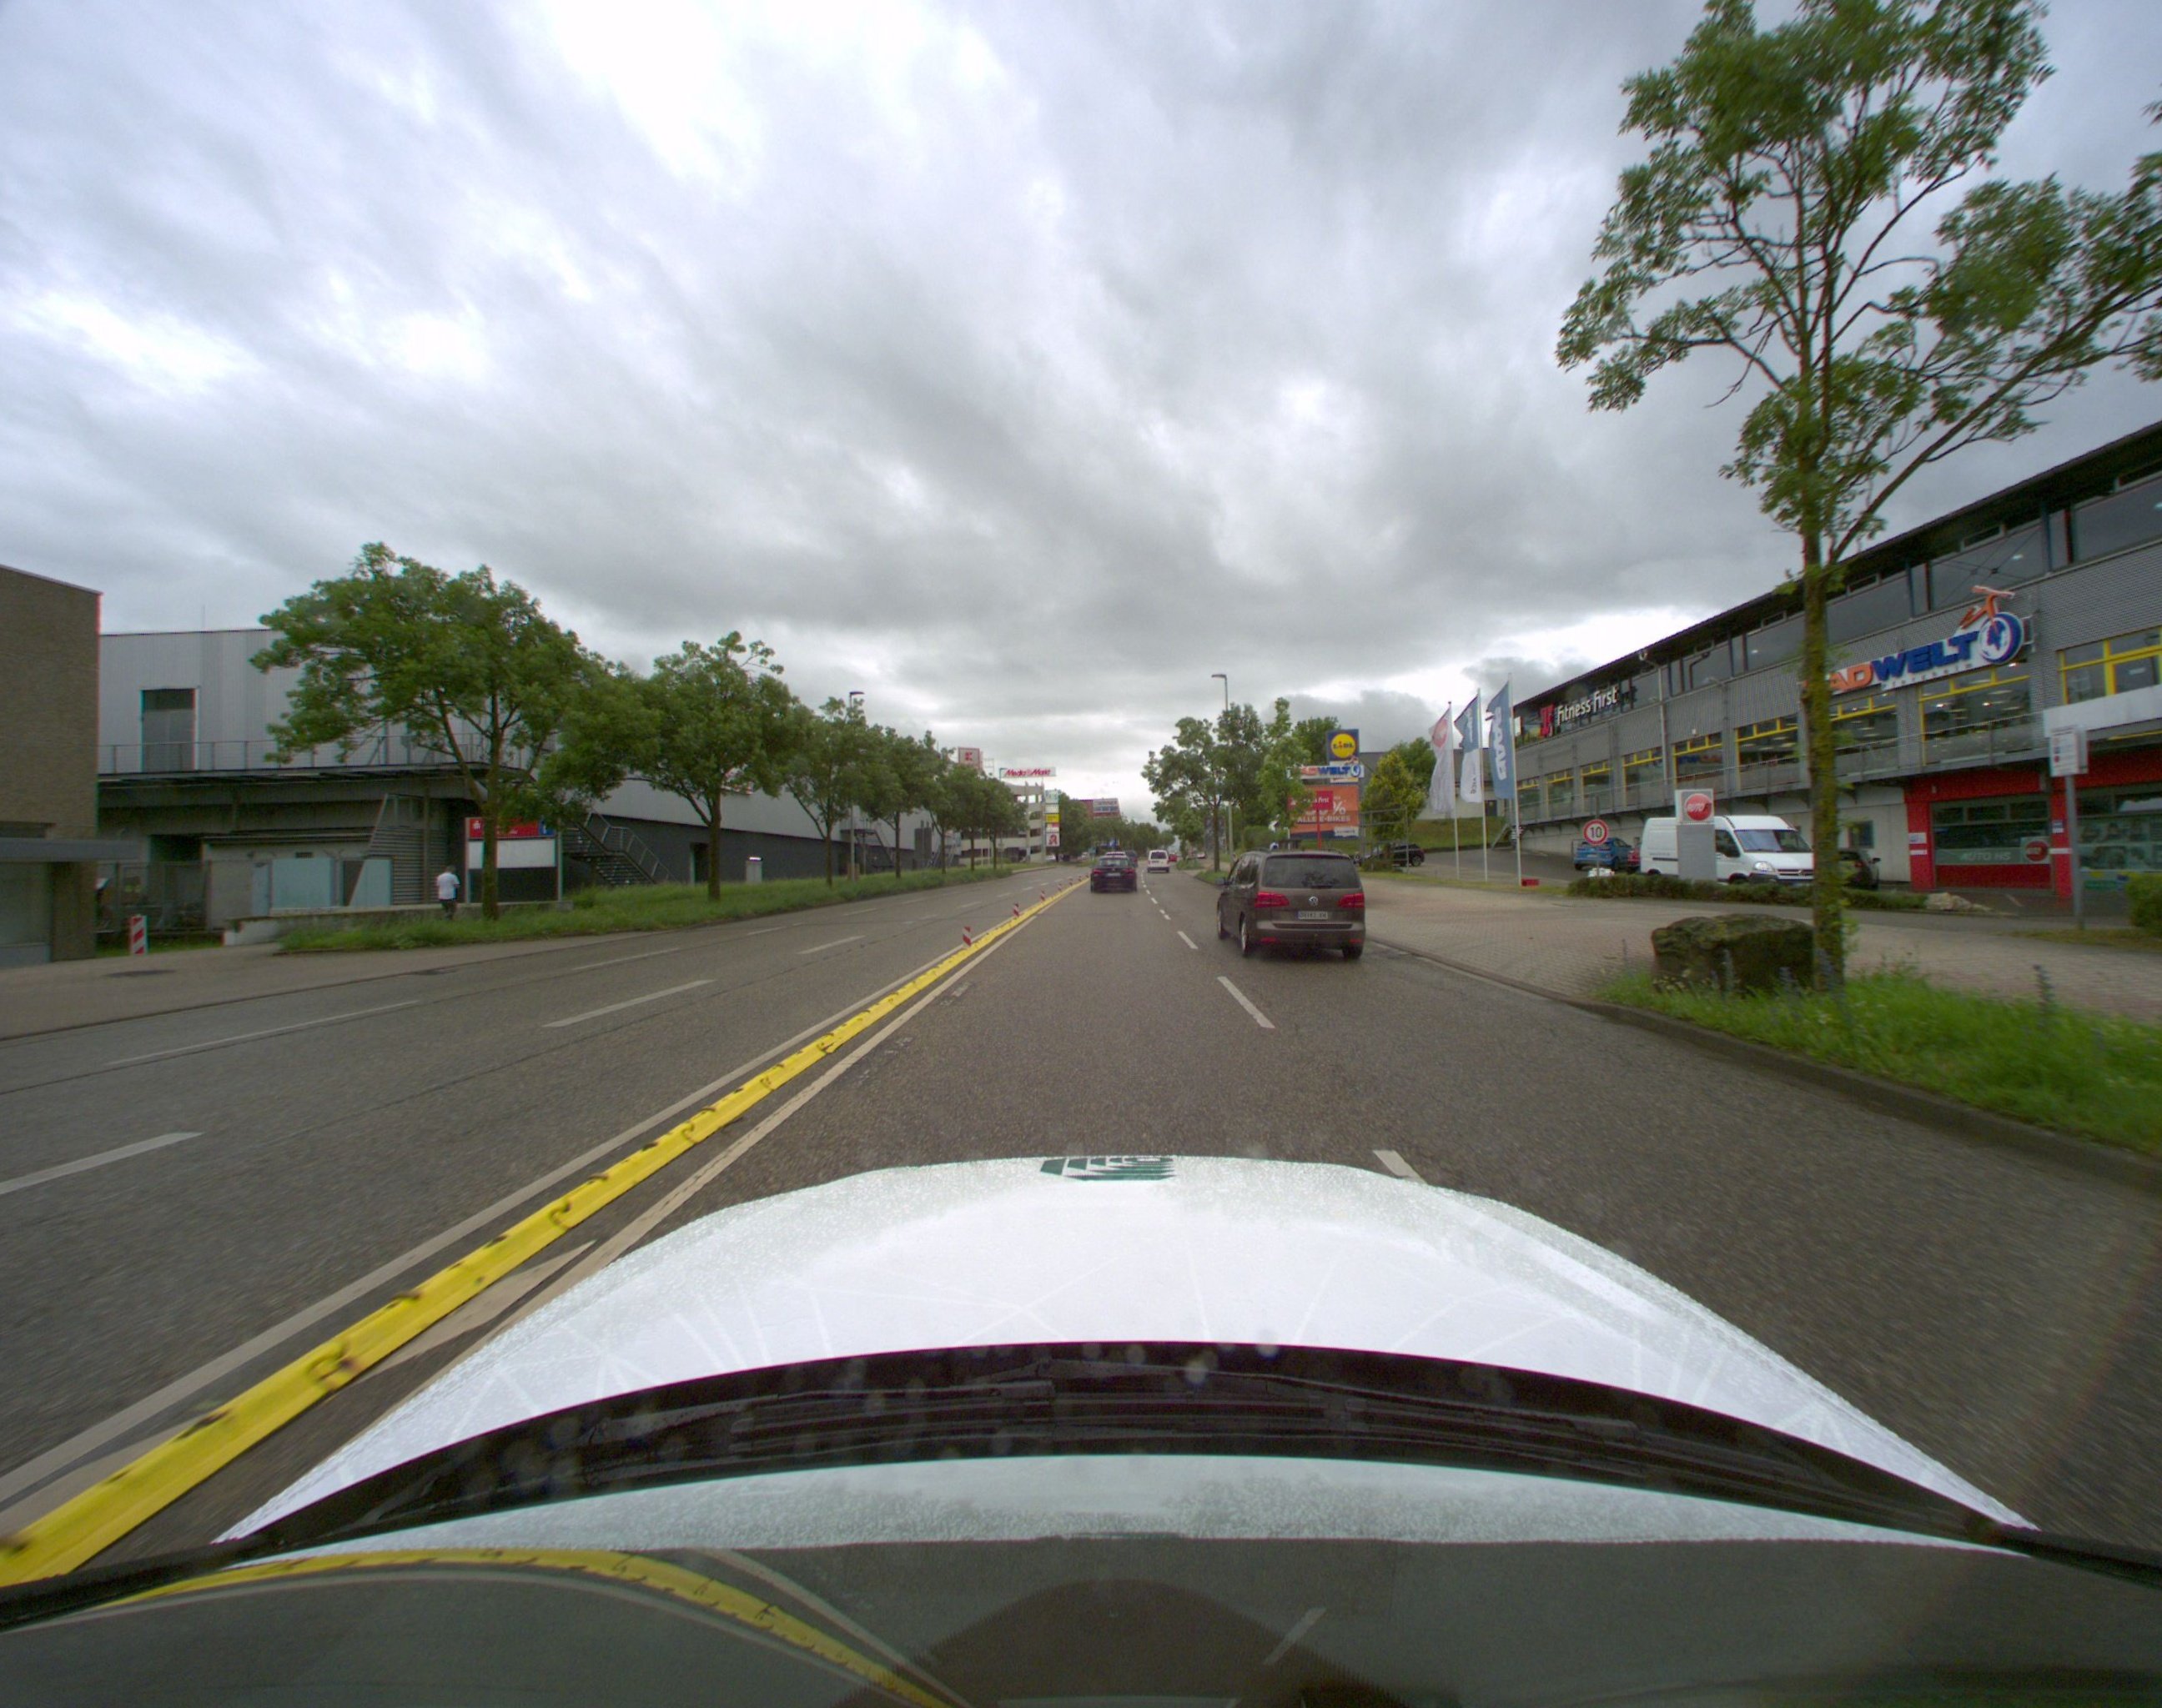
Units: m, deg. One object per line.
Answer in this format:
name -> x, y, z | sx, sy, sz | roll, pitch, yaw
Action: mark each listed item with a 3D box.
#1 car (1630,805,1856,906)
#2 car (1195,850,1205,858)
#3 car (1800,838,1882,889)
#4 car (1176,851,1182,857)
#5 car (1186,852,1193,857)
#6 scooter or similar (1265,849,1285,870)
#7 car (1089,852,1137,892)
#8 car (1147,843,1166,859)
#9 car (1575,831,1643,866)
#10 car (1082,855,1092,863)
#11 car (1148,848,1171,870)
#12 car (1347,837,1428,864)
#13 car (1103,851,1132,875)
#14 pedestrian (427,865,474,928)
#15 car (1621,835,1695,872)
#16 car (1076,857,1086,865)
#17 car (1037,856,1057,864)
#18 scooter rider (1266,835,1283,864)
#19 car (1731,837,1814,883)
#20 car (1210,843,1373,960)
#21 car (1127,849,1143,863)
car -> 18.648, -0.061, 23.443 | 2.217, 2.536, 5.689 | 0, 2, 5
car -> 24.832, 0.014, 169.753 | 1.785, 1.510, 4.006 | 0, 0, 5
car -> 25.795, 0.247, 27.601 | 4.284, 1.470, 1.762 | -3, 3, -43
car -> 27.400, -0.009, 227.651 | 1.786, 1.510, 4.005 | 0, 0, 5
car -> 31.652, 0.084, 237.444 | 1.786, 1.510, 4.005 | 0, 0, 5
scooter or similar -> 12.372, 0.350, 51.933 | 0.694, 1.263, 1.397 | -4, 1, -8
car -> 1.329, 0.677, 33.236 | 1.820, 1.468, 4.003 | -1, 1, 3
car -> 7.535, -0.258, 81.238 | 1.786, 1.510, 4.005 | 0, 0, 4
car -> 26.268, -0.311, 40.470 | 3.931, 1.559, 1.720 | -3, 3, -39
car -> 1.485, 1.197, 203.465 | 2.029, 1.762, 4.955 | -1, 1, 6
car -> 6.352, 0.385, 65.876 | 1.818, 1.759, 4.006 | 0, 0, 5
car -> 17.841, -0.227, 47.475 | 4.091, 1.438, 1.791 | -2, 2, -10
car -> 2.391, 0.568, 52.190 | 1.786, 1.510, 4.004 | 0, 0, 4
pedestrian -> -16.228, 1.071, 20.980 | 0.581, 1.583, 0.768 | 0, 0, 4
car -> 26.439, -0.079, 37.275 | 3.893, 1.501, 1.720 | -3, 2, -38
car -> 0.049, 1.618, 189.077 | 1.924, 1.608, 4.717 | -1, 1, 4
car -> -8.132, 1.431, 194.709 | 4.582, 1.745, 1.968 | -1, 1, 1
scooter rider -> 12.334, -0.279, 51.930 | 0.694, 1.820, 0.856 | -4, 1, -8
car -> 25.448, 0.175, 29.930 | 4.283, 1.470, 1.719 | -3, 3, -41
car -> 3.218, 0.657, 13.272 | 1.679, 1.581, 4.220 | -1, 0, 2
car -> 5.995, 0.248, 90.015 | 1.786, 1.510, 4.005 | 0, 0, 4
